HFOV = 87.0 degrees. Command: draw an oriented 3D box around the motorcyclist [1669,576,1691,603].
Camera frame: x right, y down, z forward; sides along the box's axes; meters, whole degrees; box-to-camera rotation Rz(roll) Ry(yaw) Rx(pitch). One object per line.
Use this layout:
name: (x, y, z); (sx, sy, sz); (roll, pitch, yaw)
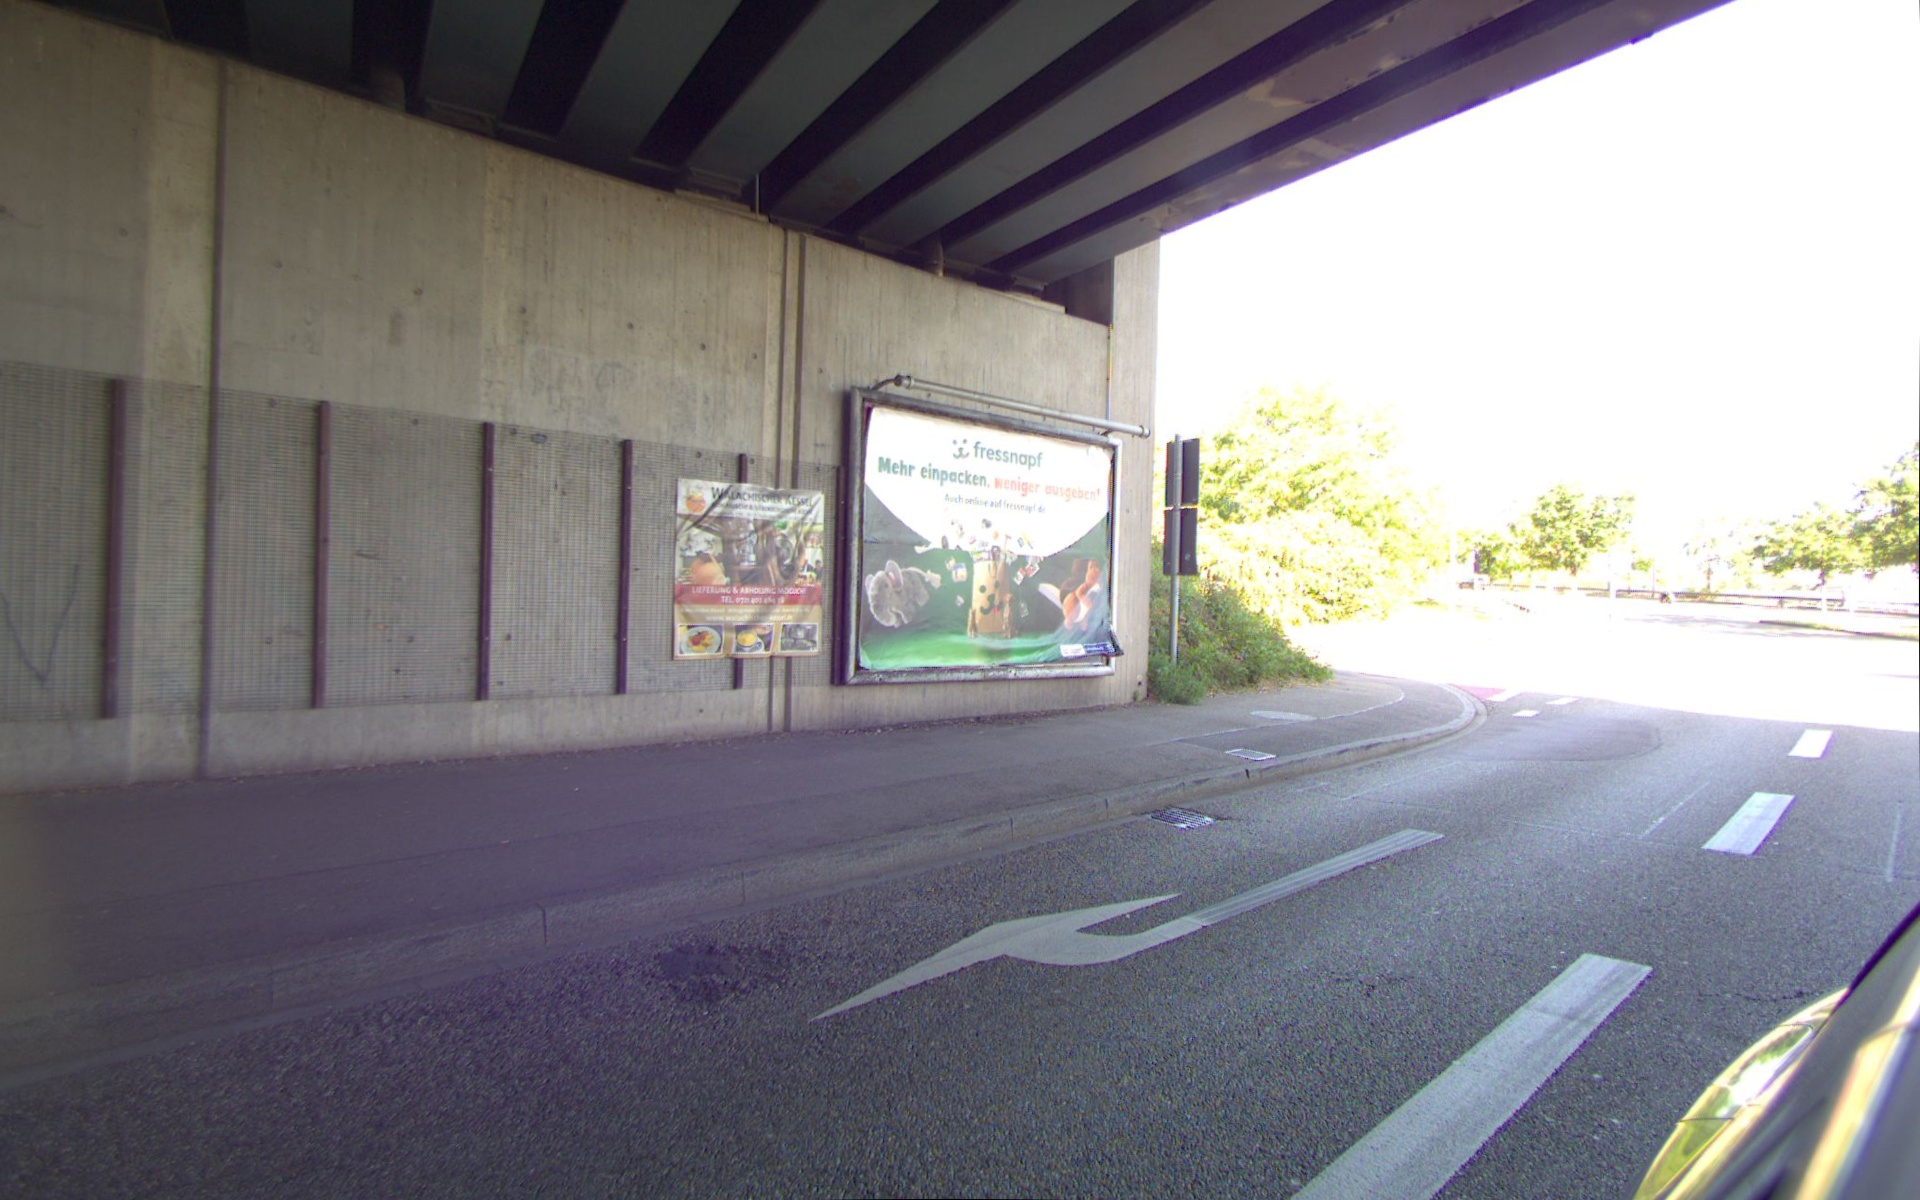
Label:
motorcyclist: (60.903, -0.866, 85.589); (1.092, 2.269, 1.178); (0, 0, 13)

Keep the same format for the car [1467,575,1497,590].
car: (66.487, -2.265, 129.007); (1.799, 1.759, 4.522); (3, 2, 7)

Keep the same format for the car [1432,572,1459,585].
car: (61.874, -2.731, 129.051); (1.709, 1.438, 4.309); (2, 0, 7)

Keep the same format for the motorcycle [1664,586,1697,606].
motorcycle: (60.893, -0.338, 85.578); (1.092, 1.681, 3.144); (0, 0, 12)
